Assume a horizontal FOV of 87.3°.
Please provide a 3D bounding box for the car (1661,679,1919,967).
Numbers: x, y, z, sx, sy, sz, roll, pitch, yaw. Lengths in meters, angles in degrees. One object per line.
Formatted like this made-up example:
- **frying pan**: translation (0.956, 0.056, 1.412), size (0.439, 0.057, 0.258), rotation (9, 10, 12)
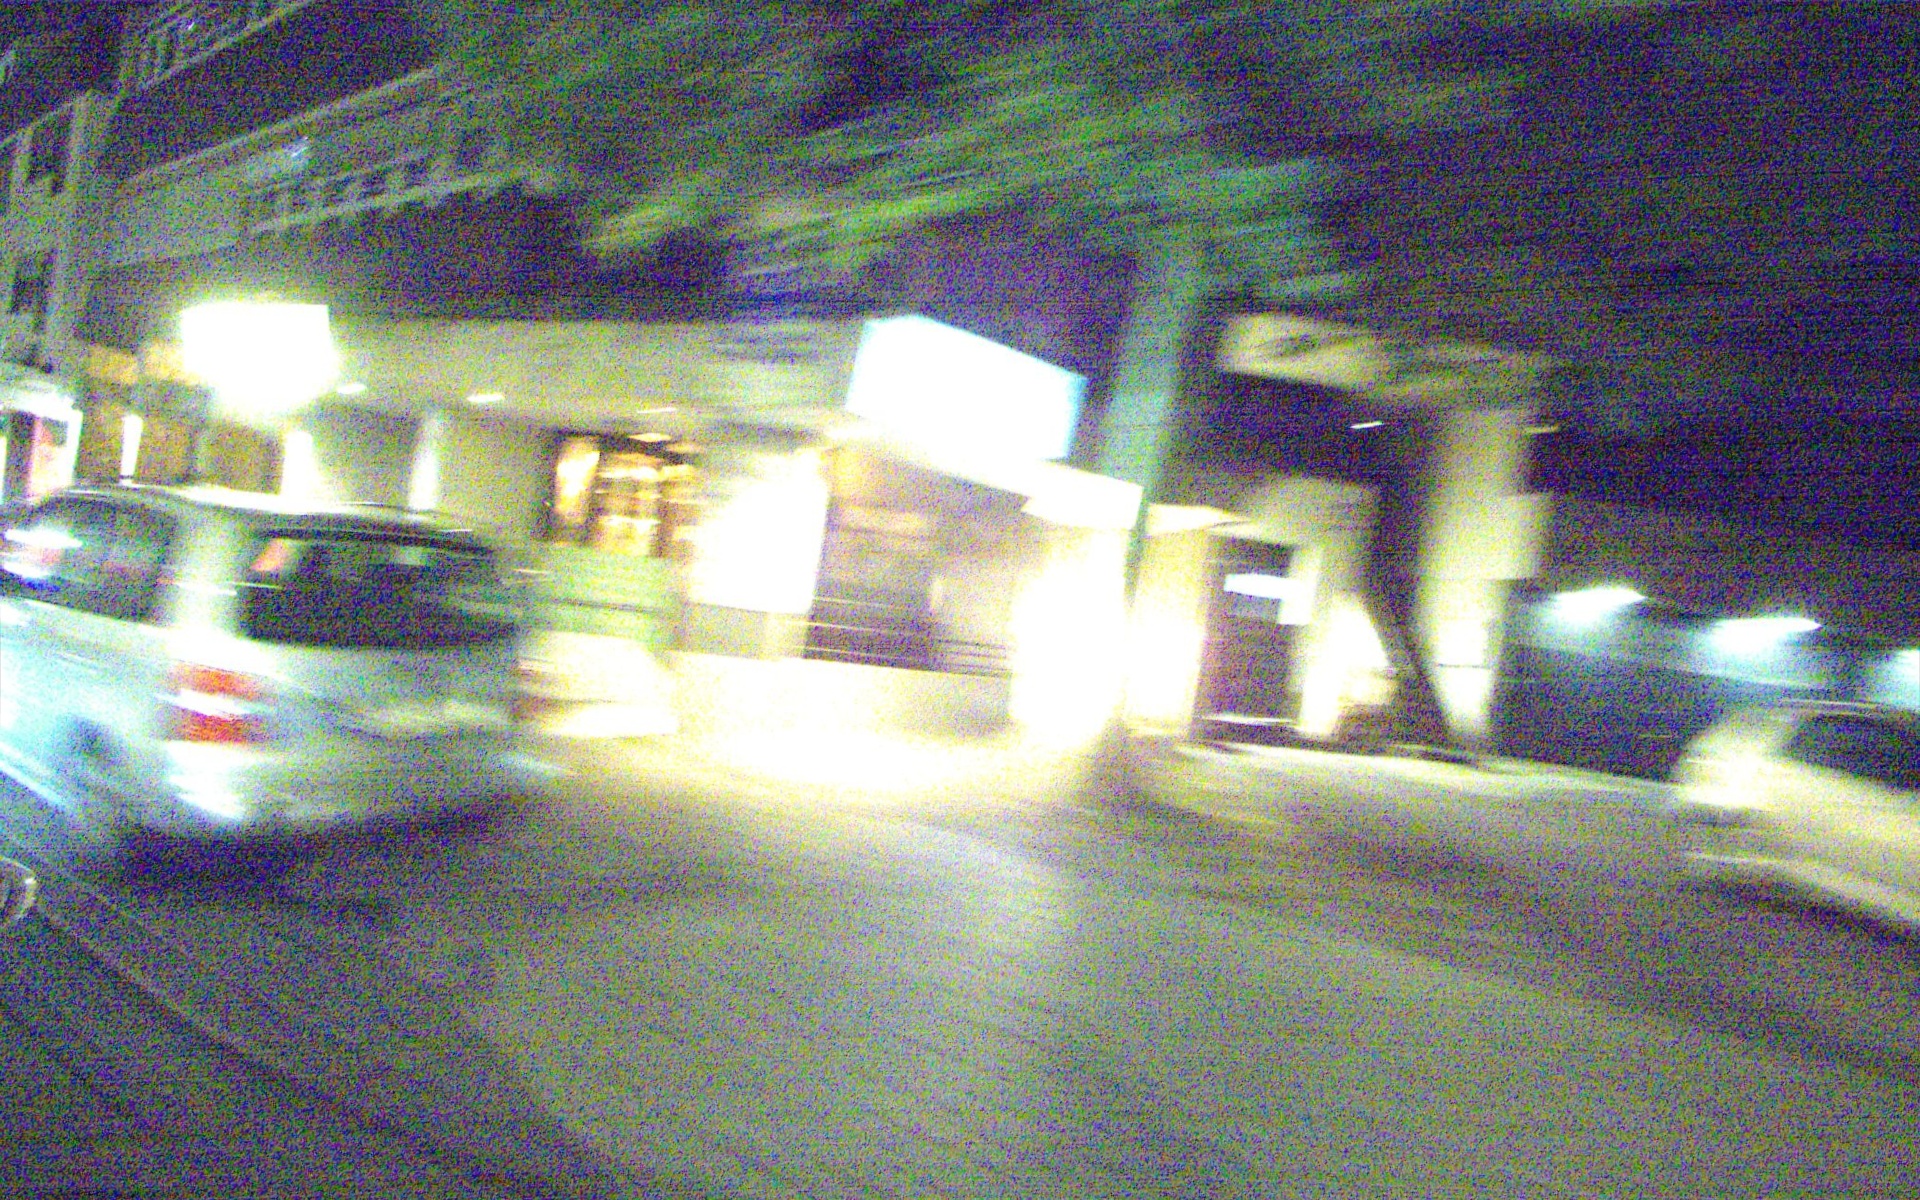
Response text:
- **car**: translation (6.764, 1.538, 6.387), size (1.675, 1.605, 4.069), rotation (6, 0, 1)

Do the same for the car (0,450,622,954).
- **car**: translation (-3.986, 0.196, 5.276), size (4.308, 1.663, 1.788), rotation (7, 2, 32)
